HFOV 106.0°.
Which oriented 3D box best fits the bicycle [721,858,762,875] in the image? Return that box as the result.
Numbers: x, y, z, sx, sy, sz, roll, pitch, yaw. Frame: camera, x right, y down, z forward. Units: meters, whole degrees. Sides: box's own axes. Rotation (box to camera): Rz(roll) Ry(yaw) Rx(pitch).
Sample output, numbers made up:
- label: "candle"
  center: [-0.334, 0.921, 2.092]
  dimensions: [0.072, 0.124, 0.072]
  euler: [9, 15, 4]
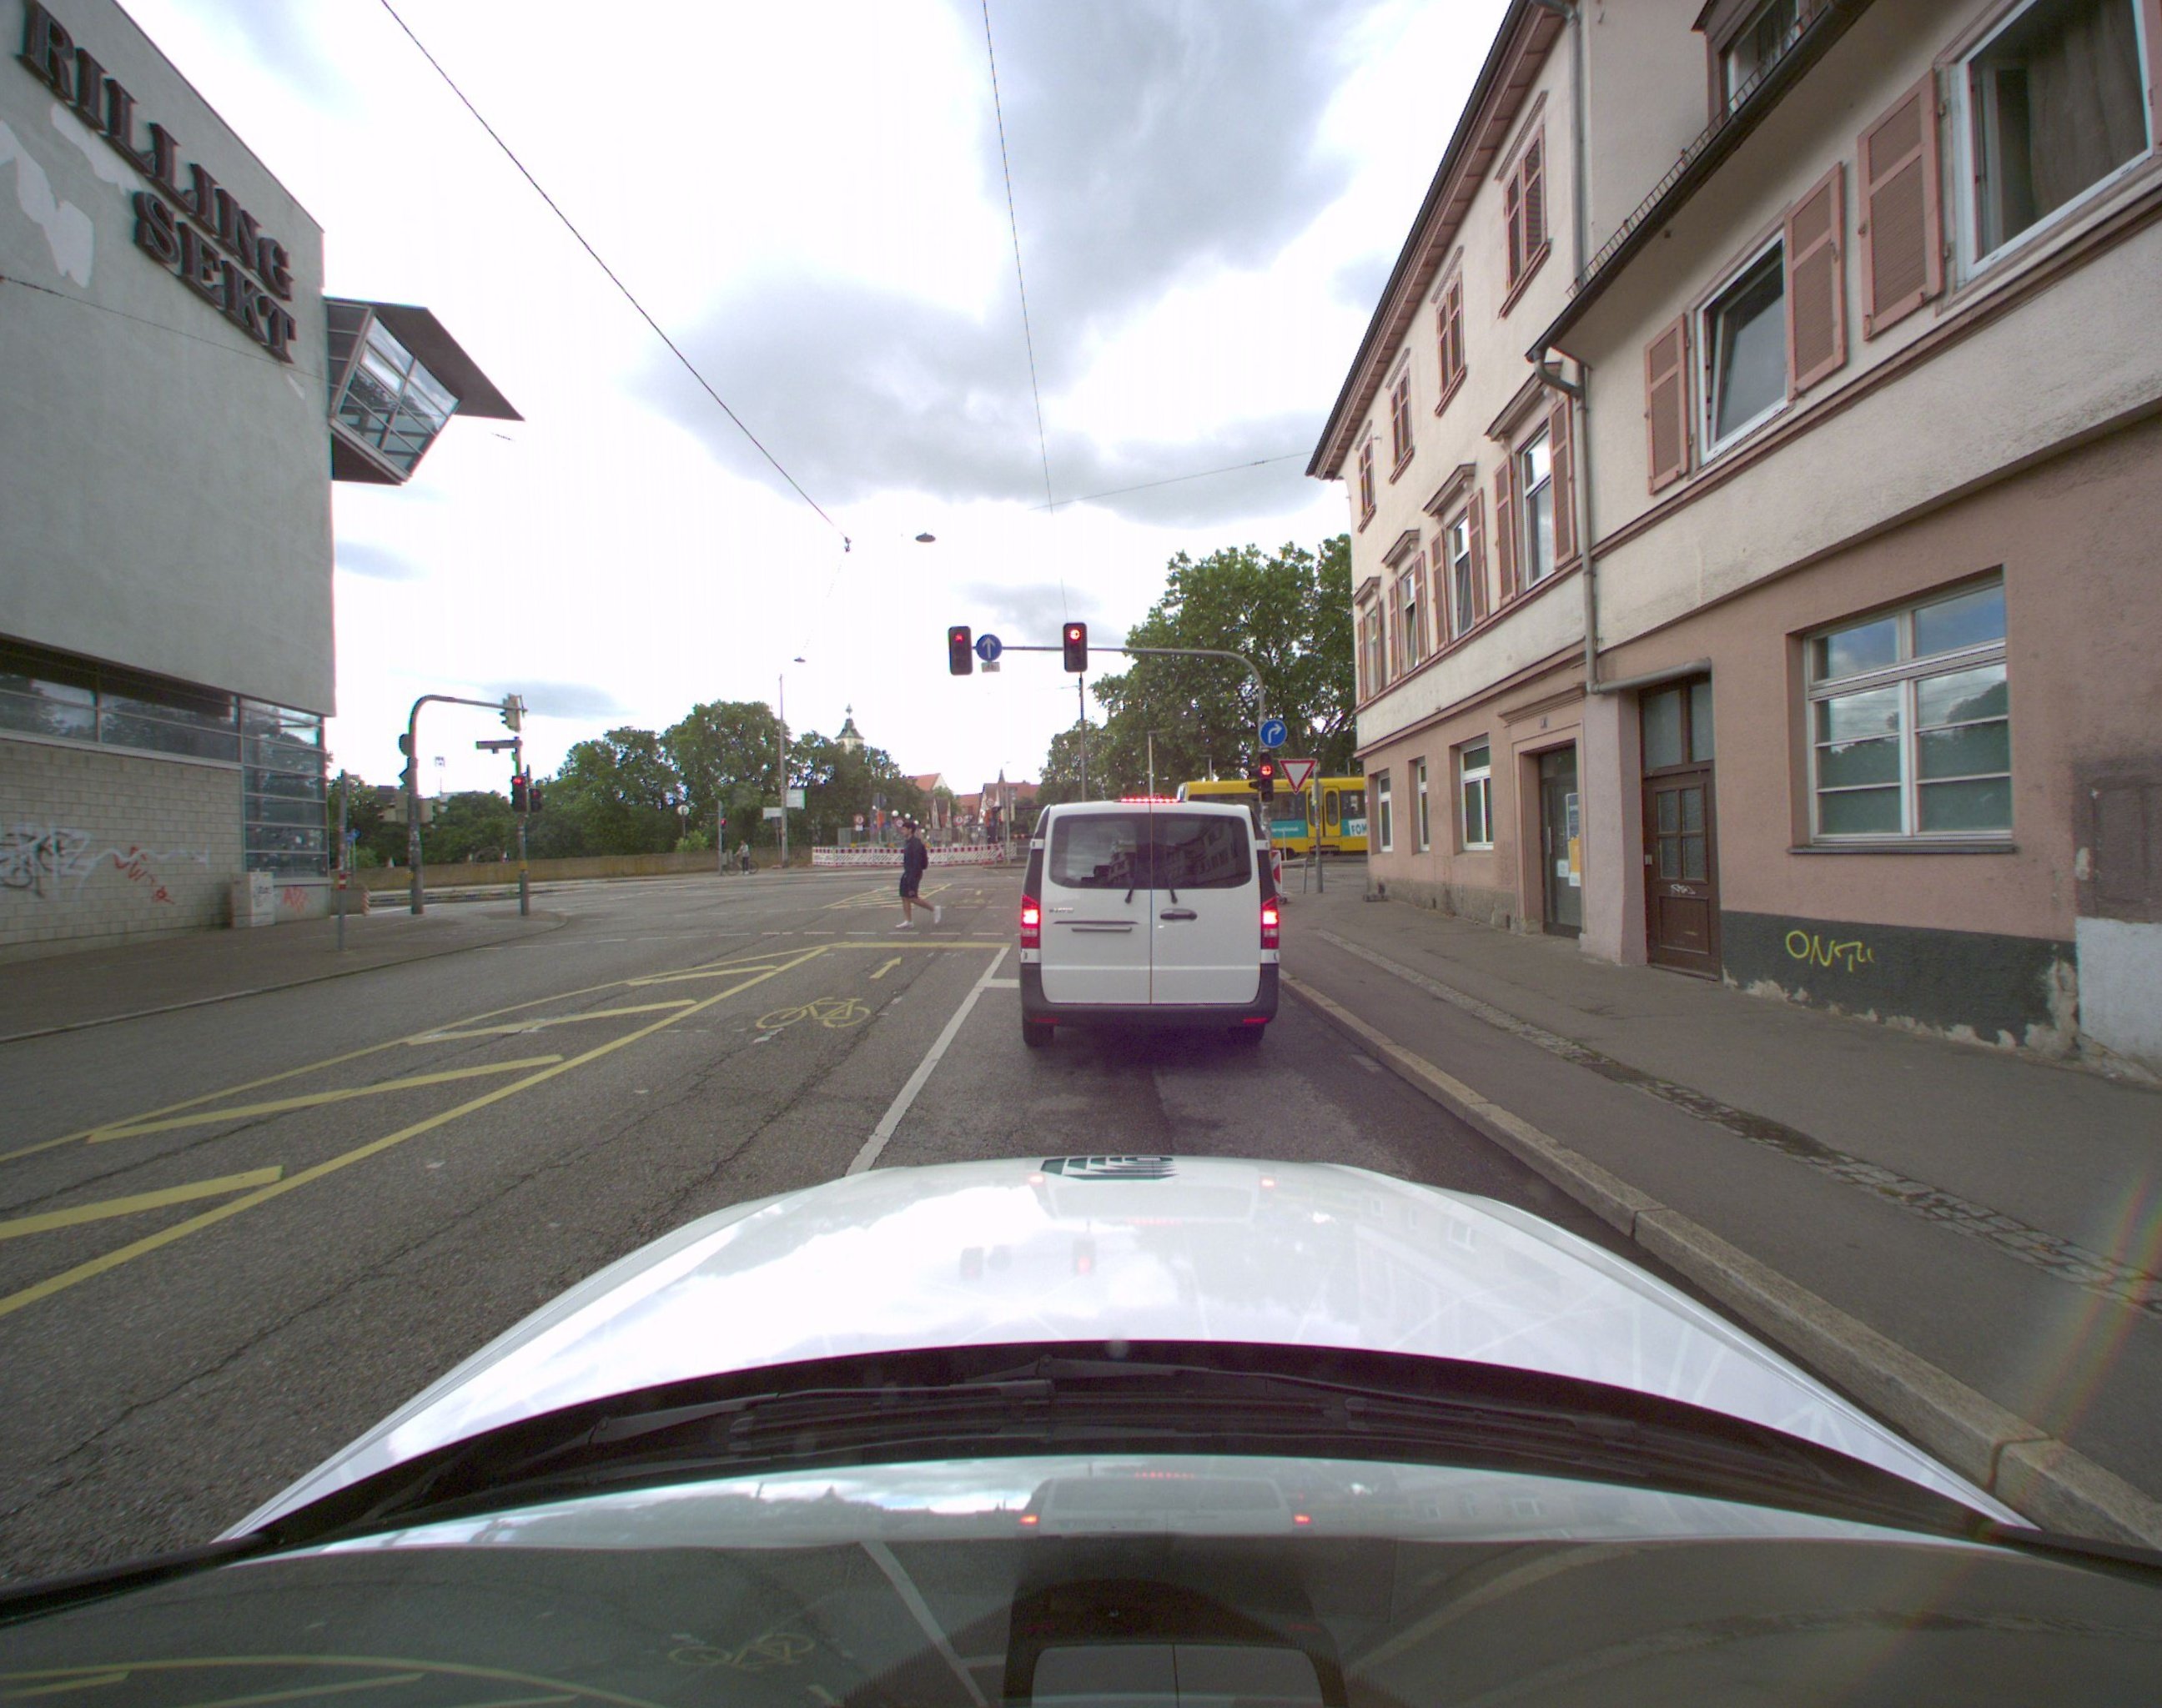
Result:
- label: "bicycle"
  center: [-18.124, 0.669, 43.495]
  dimensions: [1.962, 0.866, 0.553]
  euler: [-2, 0, -42]

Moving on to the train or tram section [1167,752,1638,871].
- label: "train or tram section"
  center: [13.519, -1.853, 34.848]
  dimensions: [19.187, 4.002, 3.305]
  euler: [-3, 2, -4]

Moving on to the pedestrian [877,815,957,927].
- label: "pedestrian"
  center: [-2.865, 0.265, 14.210]
  dimensions: [1.156, 1.856, 0.673]
  euler: [-3, 3, -29]

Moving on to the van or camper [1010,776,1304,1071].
- label: "van or camper"
  center: [0.491, 0.432, 7.580]
  dimensions: [1.932, 1.924, 4.440]
  euler: [0, 1, -1]

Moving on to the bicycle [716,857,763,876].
- label: "bicycle"
  center: [-18.229, 0.642, 43.520]
  dimensions: [2.148, 0.892, 0.752]
  euler: [-2, 2, -38]

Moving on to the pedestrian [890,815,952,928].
- label: "pedestrian"
  center: [-2.800, 0.289, 14.236]
  dimensions: [1.006, 1.914, 0.622]
  euler: [0, 0, -16]

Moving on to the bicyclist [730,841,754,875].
- label: "bicyclist"
  center: [-18.149, 0.196, 43.586]
  dimensions: [1.009, 1.743, 0.746]
  euler: [-2, 1, -37]
